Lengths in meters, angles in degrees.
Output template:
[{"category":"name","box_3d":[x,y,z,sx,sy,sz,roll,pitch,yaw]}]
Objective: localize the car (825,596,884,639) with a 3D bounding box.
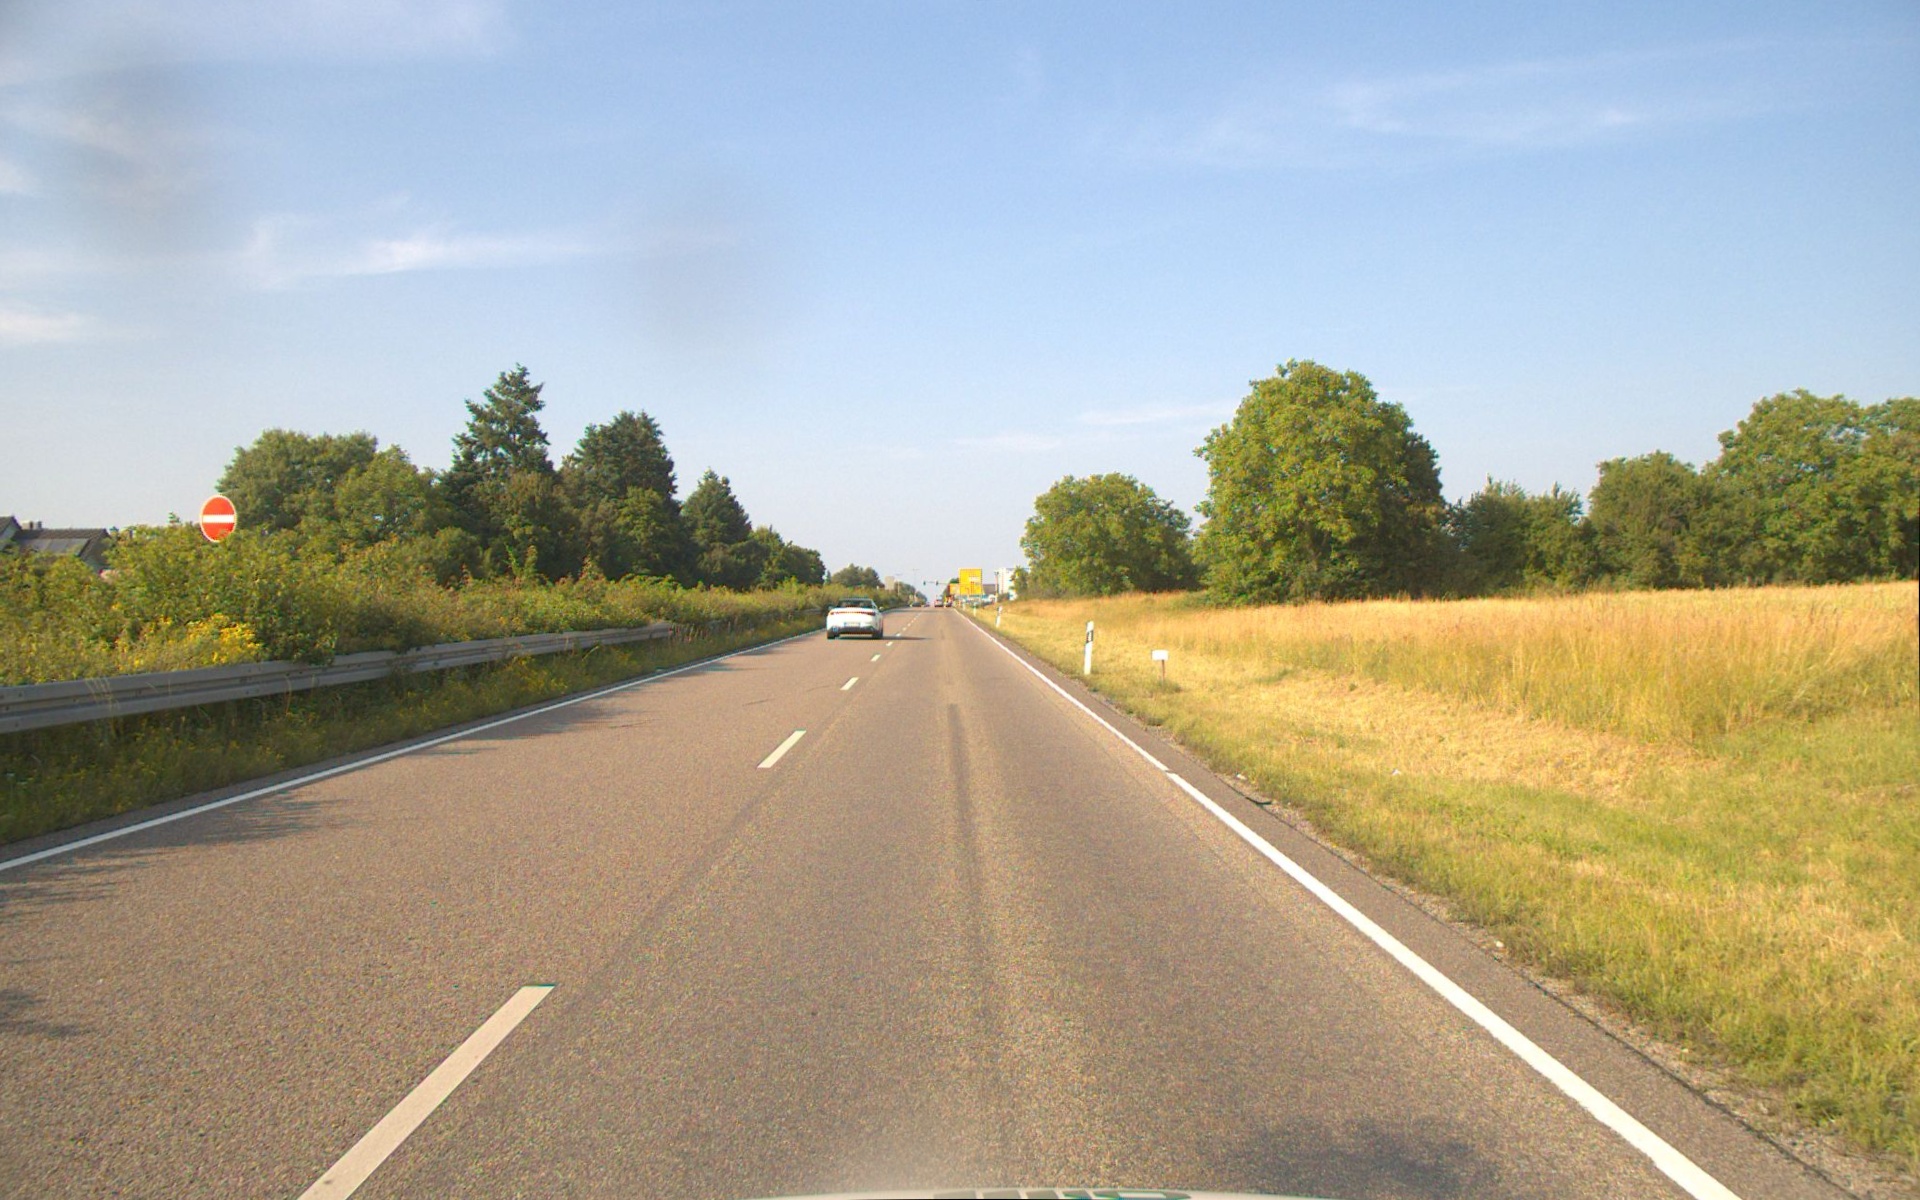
[{"category":"car","box_3d":[-3.660,0.591,57.831,1.871,1.447,3.999,1,0,-2]}]
